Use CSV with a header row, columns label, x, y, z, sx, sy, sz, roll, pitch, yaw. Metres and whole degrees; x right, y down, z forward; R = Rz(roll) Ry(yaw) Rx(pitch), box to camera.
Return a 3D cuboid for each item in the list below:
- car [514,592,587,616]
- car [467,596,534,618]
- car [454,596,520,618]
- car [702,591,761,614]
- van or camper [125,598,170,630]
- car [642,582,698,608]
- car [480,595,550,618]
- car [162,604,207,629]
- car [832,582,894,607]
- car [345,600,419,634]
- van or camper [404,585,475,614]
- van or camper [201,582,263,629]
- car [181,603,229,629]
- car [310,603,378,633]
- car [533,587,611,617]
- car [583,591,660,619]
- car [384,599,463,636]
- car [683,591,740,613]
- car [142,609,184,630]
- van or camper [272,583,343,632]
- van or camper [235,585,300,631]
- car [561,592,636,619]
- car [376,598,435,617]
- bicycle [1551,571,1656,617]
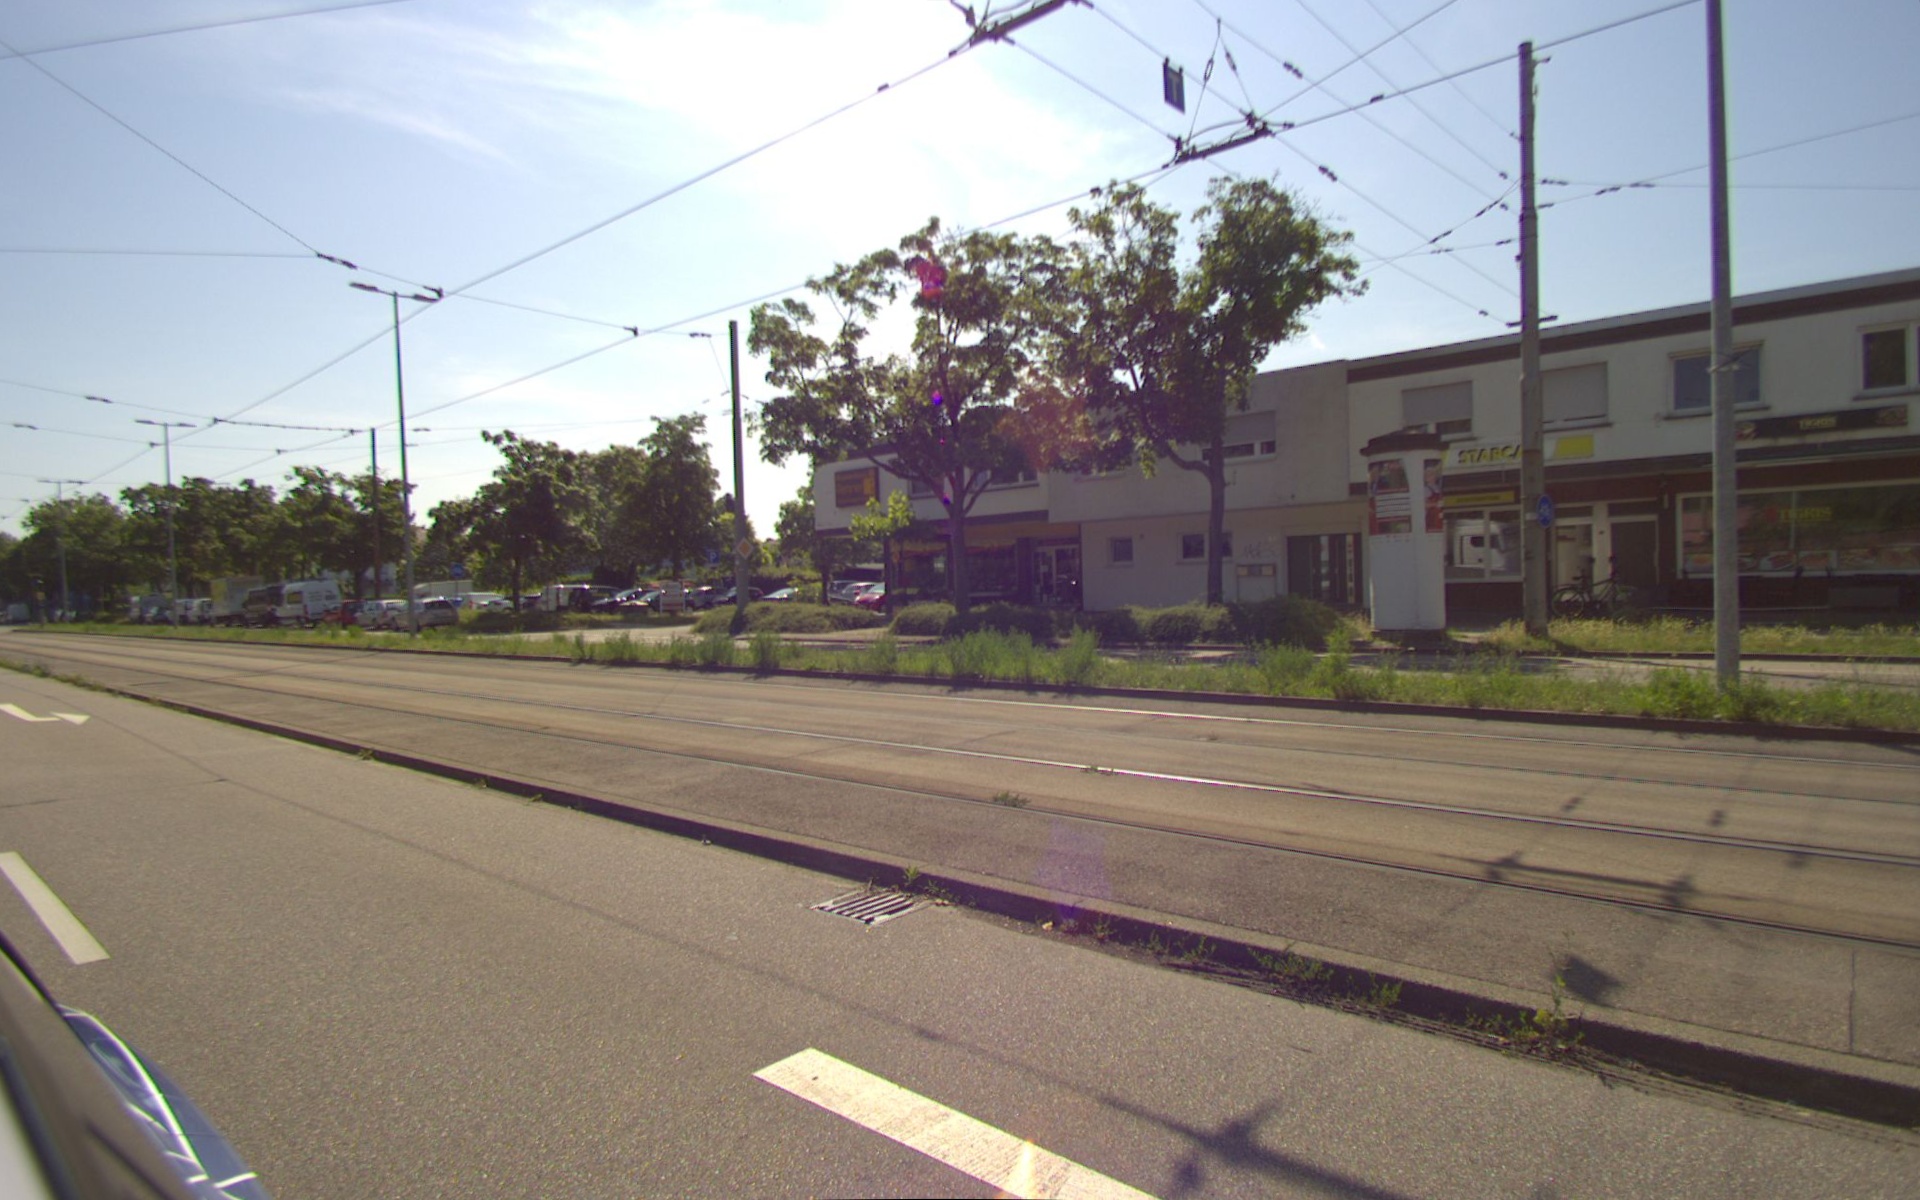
label,x,y,z,sx,sy,sz,roll,pitch,yaw
car,-24.021,0.224,59.451,1.710,1.294,3.580,-1,1,39
car,-29.924,0.433,65.944,1.710,1.291,3.580,-1,1,39
car,-31.557,0.454,67.622,1.710,1.291,3.580,-1,1,39
car,-15.640,0.161,69.385,1.710,1.372,3.580,-1,1,39
van or camper,-69.464,1.150,86.448,5.450,2.639,2.087,-1,0,41
car,-21.311,-0.373,74.360,1.710,1.791,3.580,-1,1,39
car,-27.990,0.408,63.726,1.811,1.291,3.580,-1,1,39
car,-59.744,1.264,77.937,4.229,1.781,1.869,-1,1,41
car,-5.857,-0.361,61.340,1.710,1.372,3.580,-1,1,39
car,-29.171,0.854,51.034,4.282,1.572,1.869,-1,1,41
van or camper,-53.068,-0.104,103.256,2.299,2.751,6.002,-1,1,43
van or camper,-48.435,0.386,67.274,5.278,3.007,2.101,-1,1,41
car,-54.656,1.171,73.218,4.229,1.747,1.869,-1,1,41
car,-33.159,0.972,54.471,4.229,1.506,1.869,-1,1,41
car,-22.211,0.116,57.995,1.949,1.581,3.703,-1,1,39
car,-18.228,0.247,54.633,1.710,1.372,3.580,-1,1,39
car,-25.146,0.829,47.396,4.285,1.506,1.868,-1,4,43
car,-17.479,0.124,71.224,1.710,1.372,3.580,-1,1,39
car,-64.385,1.565,81.730,4.229,1.572,1.869,-1,1,41
van or camper,-37.110,0.420,57.523,4.836,2.652,2.014,-1,1,41
van or camper,-42.496,0.488,62.074,4.836,2.652,2.014,-1,1,41
car,-20.180,0.272,56.572,1.710,1.372,3.580,-1,1,39
car,-42.279,0.589,77.226,1.710,1.291,3.580,-1,1,39
bicycle,14.641,-0.125,23.045,1.910,0.990,0.750,-1,1,41
